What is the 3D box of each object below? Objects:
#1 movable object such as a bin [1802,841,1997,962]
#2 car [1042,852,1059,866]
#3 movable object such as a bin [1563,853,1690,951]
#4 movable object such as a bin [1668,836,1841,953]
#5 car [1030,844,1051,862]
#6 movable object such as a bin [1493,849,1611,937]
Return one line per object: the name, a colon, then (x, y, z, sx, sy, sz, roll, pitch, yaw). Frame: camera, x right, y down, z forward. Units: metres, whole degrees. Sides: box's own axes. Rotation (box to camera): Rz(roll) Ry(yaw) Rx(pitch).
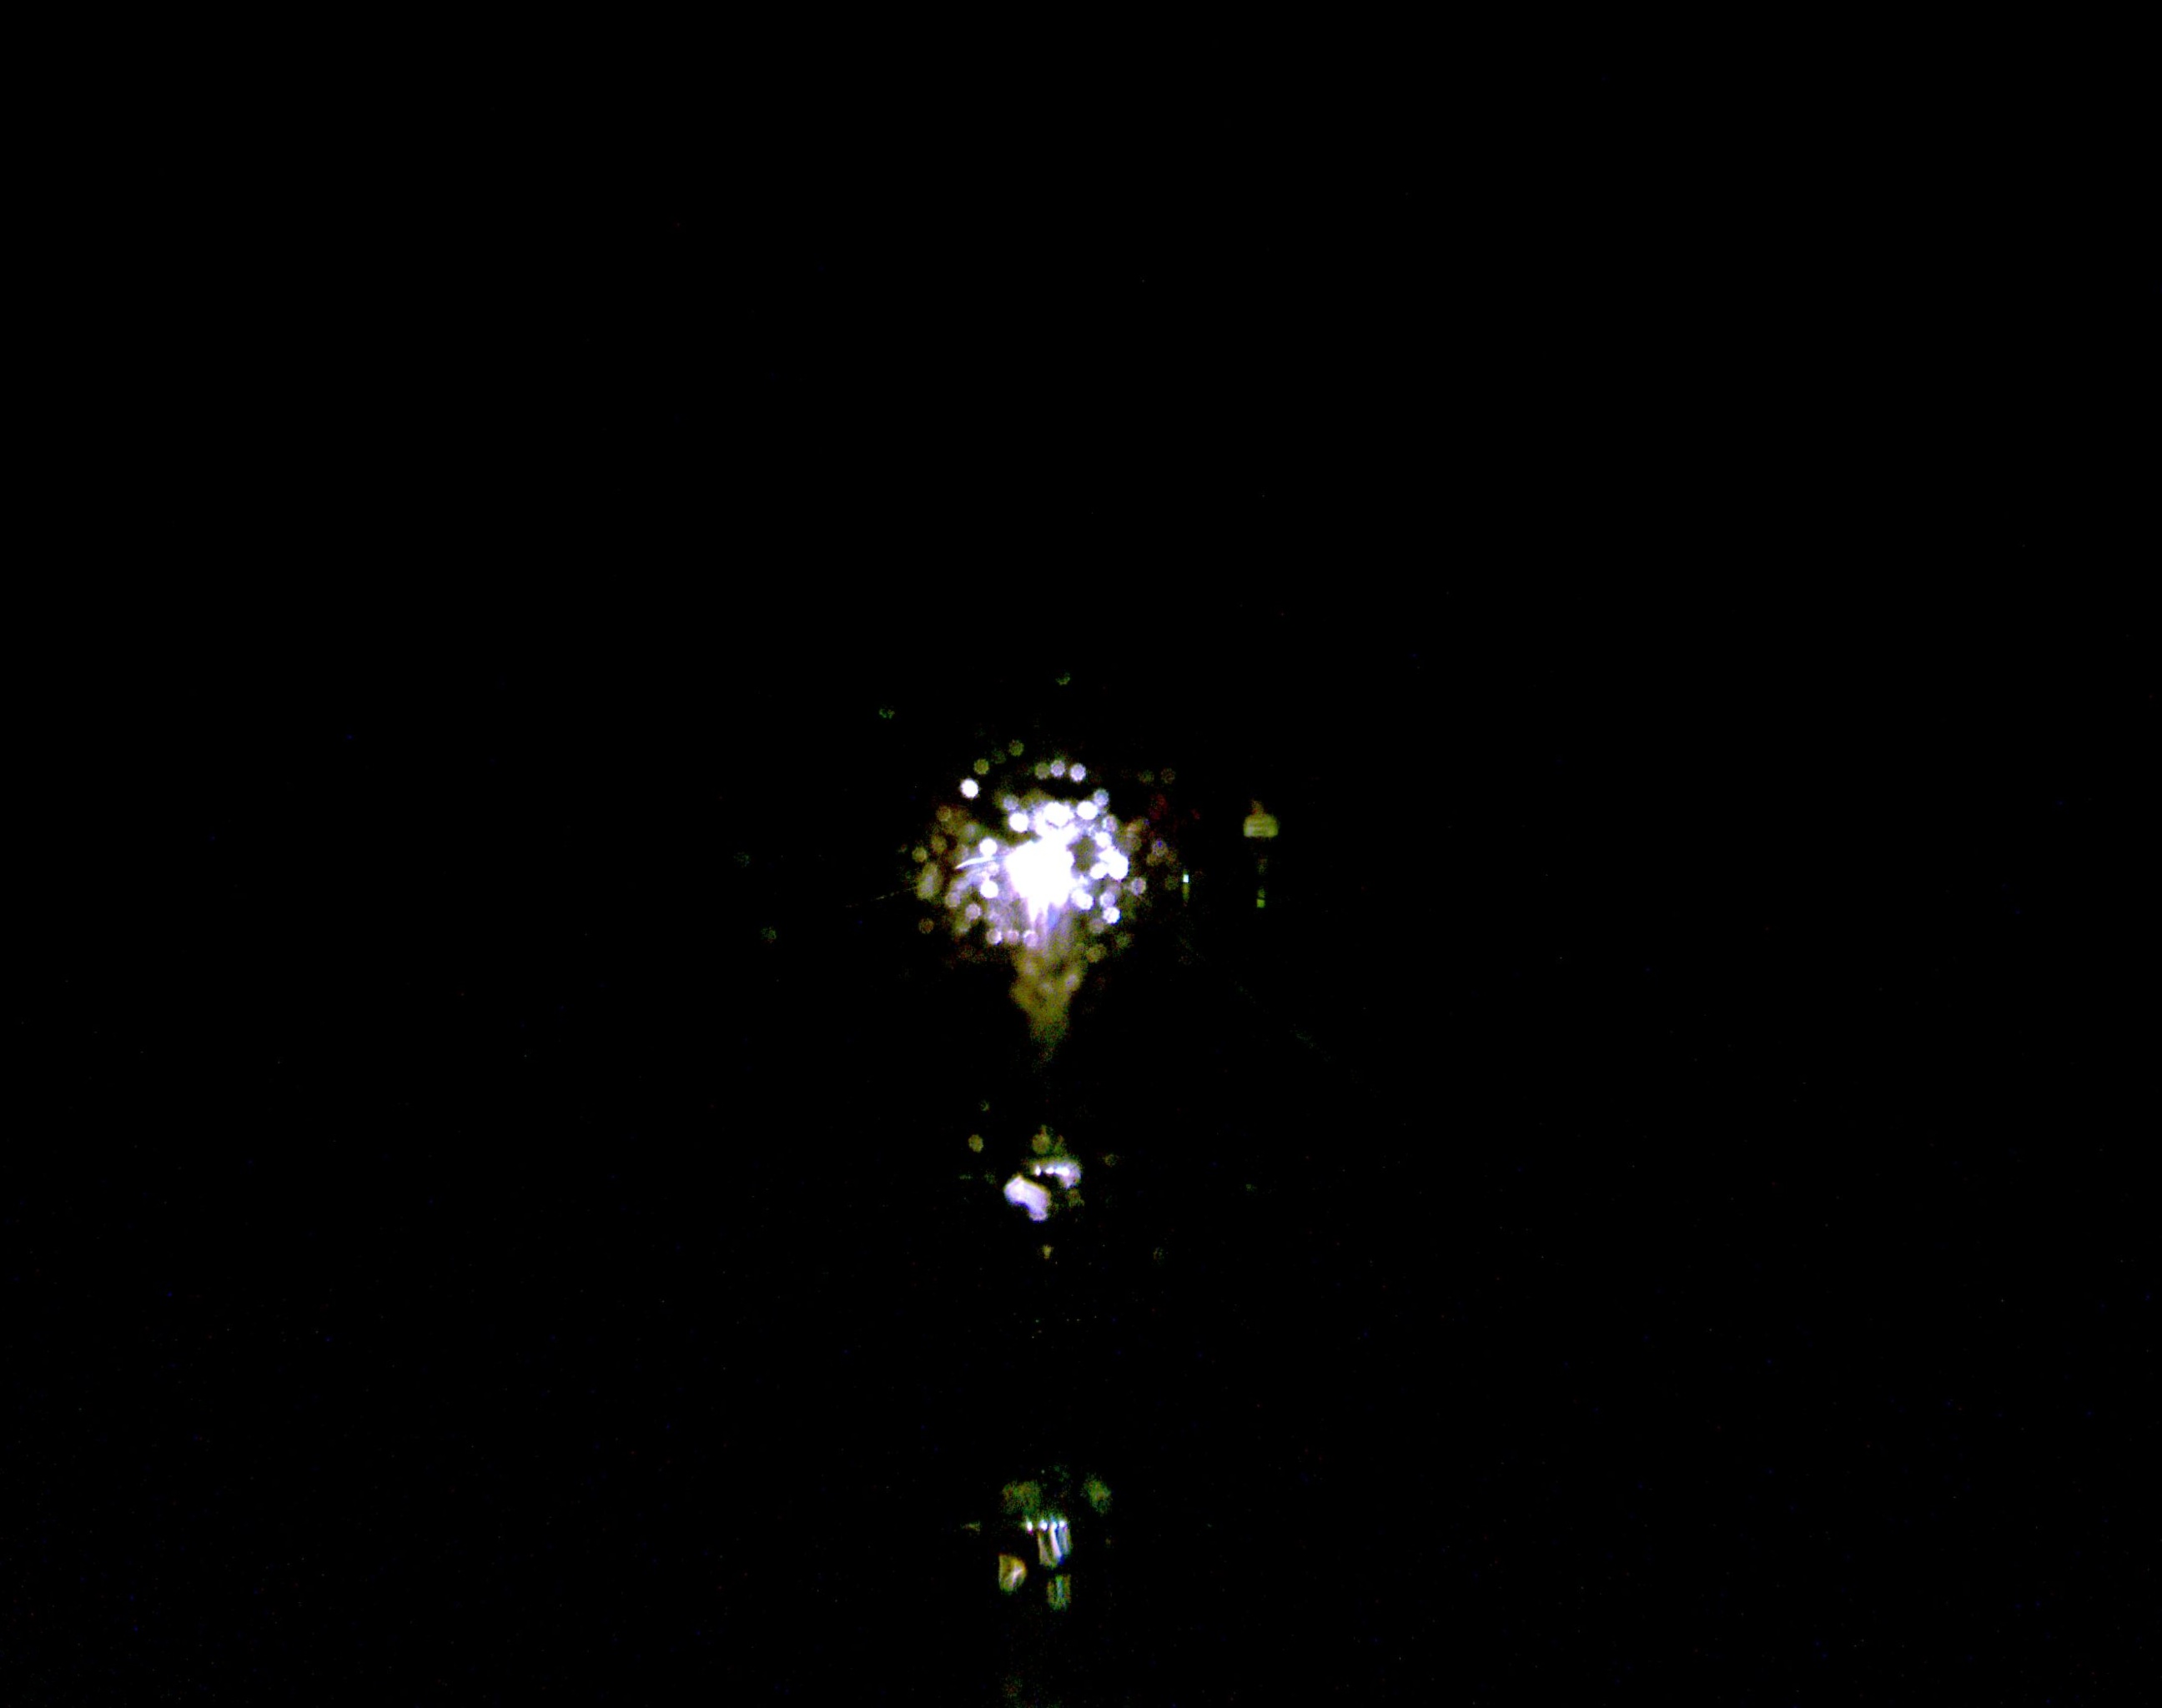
movable object such as a bin: (9.730, 0.534, 9.712, 1.255, 1.299, 1.305, -2, -2, -30)
car: (-3.672, 0.576, 98.507, 1.883, 1.586, 4.000, -3, 1, 0)
movable object such as a bin: (8.086, 0.671, 12.094, 1.158, 1.325, 1.219, -2, 1, -35)
movable object such as a bin: (8.973, 0.516, 10.895, 1.255, 1.413, 1.378, -2, -2, -30)
car: (-4.099, -0.090, 82.300, 1.883, 1.671, 4.000, -3, 1, 0)
movable object such as a bin: (7.763, 0.612, 13.434, 1.182, 1.309, 1.307, -3, 1, -38)
